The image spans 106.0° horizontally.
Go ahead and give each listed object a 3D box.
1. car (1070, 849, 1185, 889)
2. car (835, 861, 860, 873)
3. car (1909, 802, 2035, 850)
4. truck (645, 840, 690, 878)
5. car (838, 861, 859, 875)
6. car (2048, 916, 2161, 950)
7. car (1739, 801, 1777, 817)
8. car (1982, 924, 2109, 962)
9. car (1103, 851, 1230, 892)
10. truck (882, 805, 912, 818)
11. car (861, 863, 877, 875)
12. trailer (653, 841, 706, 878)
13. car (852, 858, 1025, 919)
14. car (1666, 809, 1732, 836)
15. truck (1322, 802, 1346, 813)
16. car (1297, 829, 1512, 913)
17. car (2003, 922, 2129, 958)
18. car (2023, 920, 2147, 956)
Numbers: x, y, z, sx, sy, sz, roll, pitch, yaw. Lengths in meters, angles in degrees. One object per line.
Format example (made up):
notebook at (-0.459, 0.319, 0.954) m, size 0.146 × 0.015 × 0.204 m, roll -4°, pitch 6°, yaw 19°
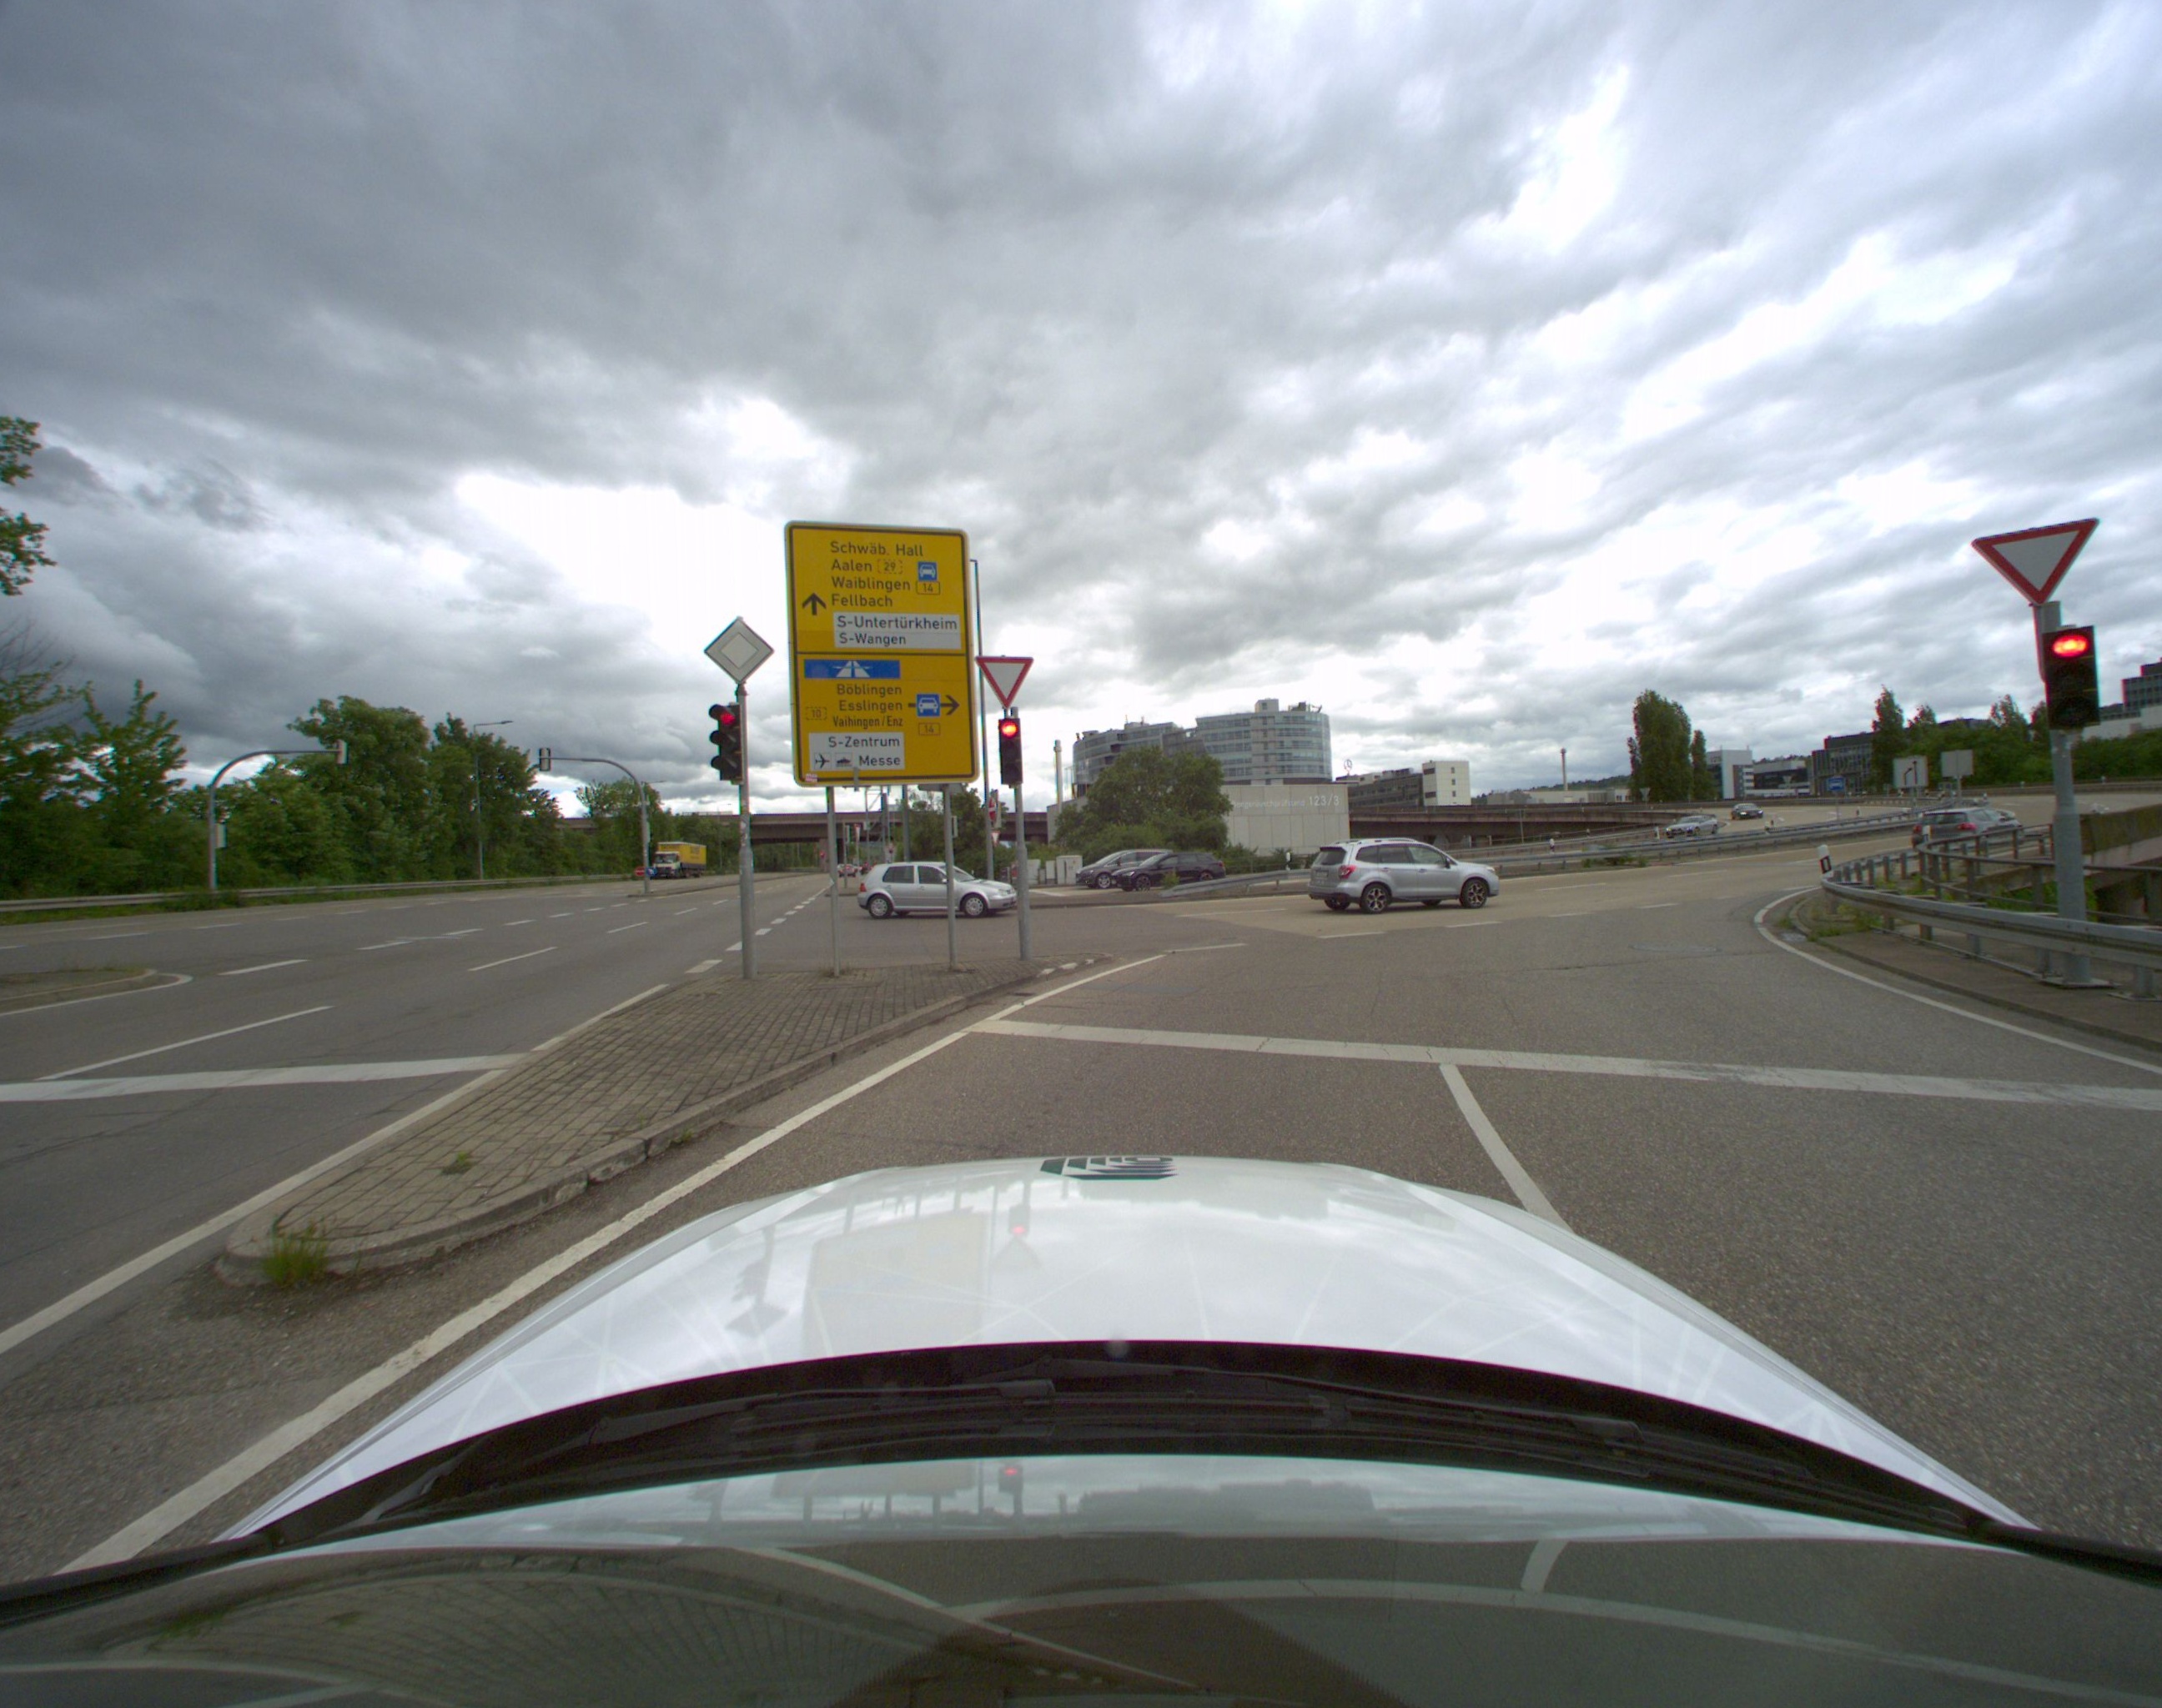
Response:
car at (2.037, 0.635, 35.974) m, size 4.689 × 1.571 × 1.945 m, roll -1°, pitch 1°, yaw -17°
car at (-41.629, 2.301, 145.179) m, size 3.983 × 1.860 × 1.995 m, roll 2°, pitch 0°, yaw -8°
car at (31.373, -0.989, 28.667) m, size 4.250 × 1.461 × 1.716 m, roll -3°, pitch 1°, yaw -24°
truck at (-46.315, 0.564, 91.440) m, size 2.874 × 4.084 × 6.459 m, roll 1°, pitch 0°, yaw -13°
car at (-25.923, 1.542, 90.894) m, size 1.996 × 1.442 × 4.091 m, roll 0°, pitch -2°, yaw -13°
car at (54.905, 4.183, 43.561) m, size 1.832 × 1.354 × 3.827 m, roll -3°, pitch 1°, yaw -29°
car at (63.627, -4.228, 76.612) m, size 1.891 × 1.421 × 4.018 m, roll 2°, pitch 2°, yaw 27°
car at (48.164, 4.403, 40.737) m, size 1.832 × 1.354 × 3.827 m, roll -3°, pitch 1°, yaw -29°
car at (3.378, 0.646, 32.158) m, size 4.621 × 1.457 × 1.943 m, roll -1°, pitch 1°, yaw -20°
truck at (-33.903, -7.809, 149.883) m, size 5.033 × 2.321 × 2.004 m, roll -1°, pitch 0°, yaw 6°
car at (-28.909, 2.027, 111.110) m, size 1.996 × 1.464 × 4.090 m, roll 0°, pitch -2°, yaw -14°
trailer at (-47.485, 0.574, 96.702) m, size 2.874 × 4.084 × 11.377 m, roll 1°, pitch 0°, yaw -12°
car at (-3.676, 0.884, 21.311) m, size 4.028 × 1.400 × 1.735 m, roll -2°, pitch 0°, yaw 9°
car at (44.812, -2.243, 59.012) m, size 4.756 × 1.662 × 1.899 m, roll 2°, pitch 0°, yaw -27°
truck at (54.548, -10.093, 175.773) m, size 4.568 × 2.171 × 2.002 m, roll 2°, pitch 0°, yaw 3°
car at (7.661, 0.369, 19.411) m, size 4.544 × 1.737 × 1.723 m, roll -2°, pitch 0°, yaw -12°
car at (50.322, 4.355, 41.690) m, size 1.832 × 1.354 × 3.827 m, roll -3°, pitch 1°, yaw -29°
car at (52.302, 4.328, 42.500) m, size 1.832 × 1.354 × 3.827 m, roll -3°, pitch 1°, yaw -29°
